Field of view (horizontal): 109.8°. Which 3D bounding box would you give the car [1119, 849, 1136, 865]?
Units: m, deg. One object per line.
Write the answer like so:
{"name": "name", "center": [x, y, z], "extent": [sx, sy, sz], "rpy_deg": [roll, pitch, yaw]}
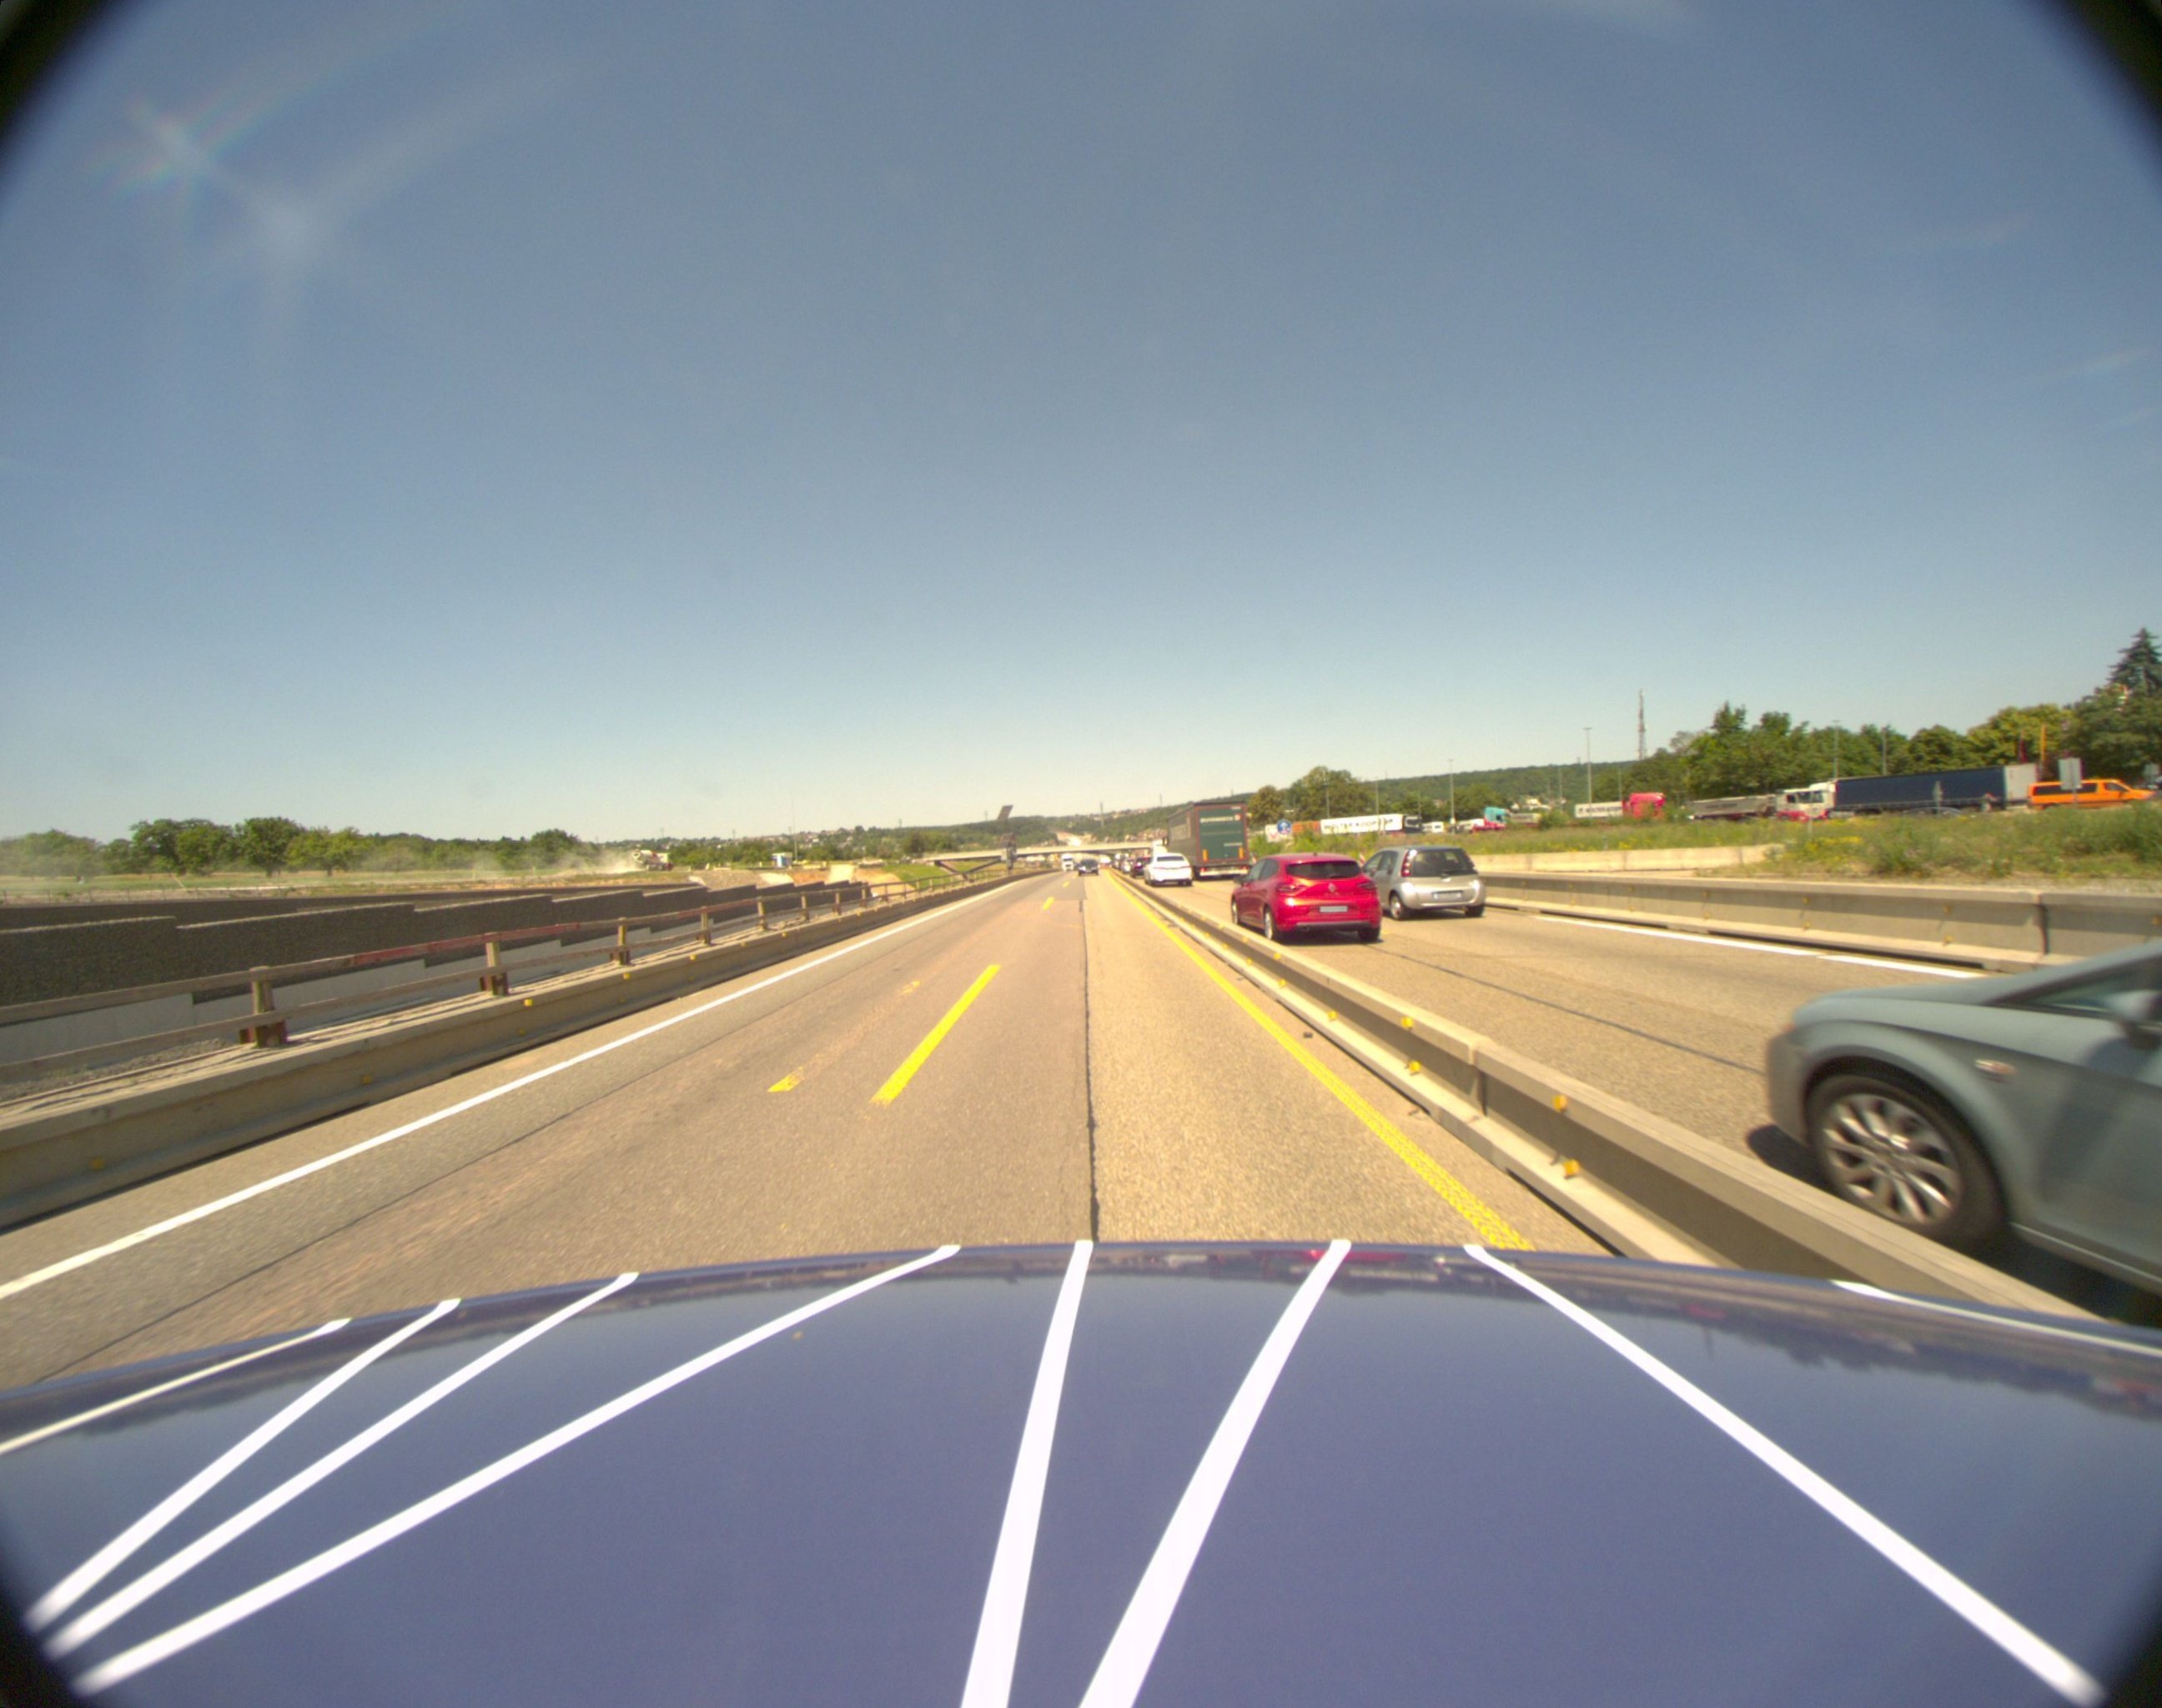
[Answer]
{"name": "car", "center": [4.917, 0.270, 80.540], "extent": [1.651, 1.592, 4.490], "rpy_deg": [-3, 0, 2]}

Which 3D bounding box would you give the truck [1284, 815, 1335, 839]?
{"name": "truck", "center": [46.210, -5.433, 153.812], "extent": [9.253, 3.653, 2.867], "rpy_deg": [-6, 0, 44]}

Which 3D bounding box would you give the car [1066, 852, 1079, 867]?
{"name": "car", "center": [-1.946, 1.175, 173.994], "extent": [2.544, 3.126, 7.547], "rpy_deg": [-4, 0, 1]}

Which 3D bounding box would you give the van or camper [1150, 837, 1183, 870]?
{"name": "van or camper", "center": [8.179, -0.097, 73.101], "extent": [2.442, 2.900, 7.824], "rpy_deg": [-2, 0, 2]}

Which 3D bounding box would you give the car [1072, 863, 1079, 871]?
{"name": "car", "center": [-1.531, 3.552, 211.800], "extent": [1.739, 2.002, 3.876], "rpy_deg": [-3, 0, 1]}

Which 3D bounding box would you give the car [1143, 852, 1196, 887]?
{"name": "car", "center": [4.048, 0.667, 35.549], "extent": [1.901, 1.484, 4.759], "rpy_deg": [-1, 0, 0]}

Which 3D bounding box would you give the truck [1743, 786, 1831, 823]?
{"name": "truck", "center": [62.187, -4.278, 67.115], "extent": [2.275, 2.752, 5.630], "rpy_deg": [-4, 0, -2]}

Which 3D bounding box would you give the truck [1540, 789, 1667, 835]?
{"name": "truck", "center": [51.245, -4.021, 74.883], "extent": [2.004, 3.755, 10.066], "rpy_deg": [-4, 1, -45]}

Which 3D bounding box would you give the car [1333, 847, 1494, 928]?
{"name": "car", "center": [6.847, 0.624, 16.088], "extent": [1.627, 1.439, 3.785], "rpy_deg": [-3, 0, -1]}

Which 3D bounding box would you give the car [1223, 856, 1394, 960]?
{"name": "car", "center": [3.646, 0.783, 12.939], "extent": [1.653, 1.426, 3.999], "rpy_deg": [-2, 0, 0]}

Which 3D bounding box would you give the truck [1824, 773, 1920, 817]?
{"name": "truck", "center": [76.104, -5.643, 73.250], "extent": [2.872, 3.601, 5.960], "rpy_deg": [-4, 0, 0]}

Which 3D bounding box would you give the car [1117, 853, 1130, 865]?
{"name": "car", "center": [5.658, 0.717, 102.479], "extent": [1.651, 1.563, 3.945], "rpy_deg": [-1, 0, 2]}

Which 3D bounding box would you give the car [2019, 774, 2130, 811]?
{"name": "car", "center": [75.795, -4.659, 58.043], "extent": [2.003, 2.240, 5.014], "rpy_deg": [-4, 0, -34]}

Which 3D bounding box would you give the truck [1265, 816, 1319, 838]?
{"name": "truck", "center": [47.289, -6.115, 170.619], "extent": [11.491, 3.653, 2.535], "rpy_deg": [-6, 0, 44]}

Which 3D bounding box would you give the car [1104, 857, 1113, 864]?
{"name": "car", "center": [5.544, 1.295, 155.304], "extent": [1.651, 1.359, 3.945], "rpy_deg": [-1, 0, 0]}

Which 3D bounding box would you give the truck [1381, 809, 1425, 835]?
{"name": "truck", "center": [52.259, -5.202, 123.242], "extent": [5.724, 3.597, 2.584], "rpy_deg": [-6, 1, 41]}

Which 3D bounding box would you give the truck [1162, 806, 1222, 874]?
{"name": "truck", "center": [7.337, -0.874, 51.139], "extent": [3.014, 4.178, 6.283], "rpy_deg": [-3, 0, 0]}

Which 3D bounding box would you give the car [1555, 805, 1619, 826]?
{"name": "car", "center": [42.607, -3.265, 64.096], "extent": [2.003, 1.499, 3.991], "rpy_deg": [-3, 0, -31]}

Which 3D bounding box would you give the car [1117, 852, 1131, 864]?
{"name": "car", "center": [8.548, 0.799, 152.336], "extent": [2.416, 2.106, 5.315], "rpy_deg": [-4, 0, 0]}

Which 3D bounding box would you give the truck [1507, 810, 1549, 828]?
{"name": "truck", "center": [75.549, -5.880, 128.496], "extent": [2.548, 2.589, 7.778], "rpy_deg": [-4, 0, 1]}

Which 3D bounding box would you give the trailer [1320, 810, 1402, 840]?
{"name": "trailer", "center": [47.107, -4.812, 128.180], "extent": [12.721, 3.762, 2.625], "rpy_deg": [-6, 1, 45]}

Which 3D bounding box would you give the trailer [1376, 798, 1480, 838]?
{"name": "trailer", "center": [46.869, -4.782, 103.166], "extent": [12.348, 4.142, 2.865], "rpy_deg": [-6, 1, 45]}

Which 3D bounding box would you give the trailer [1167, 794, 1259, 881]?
{"name": "trailer", "center": [7.302, -0.818, 44.548], "extent": [3.014, 4.174, 13.850], "rpy_deg": [-3, 0, 1]}

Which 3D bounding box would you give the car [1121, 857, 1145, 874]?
{"name": "car", "center": [4.331, 0.922, 63.779], "extent": [1.714, 1.344, 3.890], "rpy_deg": [-1, 0, 0]}

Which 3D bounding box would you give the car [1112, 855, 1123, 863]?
{"name": "car", "center": [6.135, 0.798, 126.830], "extent": [1.651, 1.359, 3.945], "rpy_deg": [-1, 0, 0]}

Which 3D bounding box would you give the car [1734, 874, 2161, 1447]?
{"name": "car", "center": [3.683, 0.833, 1.179], "extent": [1.686, 1.420, 4.201], "rpy_deg": [-2, 0, 0]}

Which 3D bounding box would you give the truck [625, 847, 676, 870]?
{"name": "truck", "center": [-72.524, 0.724, 128.350], "extent": [3.155, 3.445, 8.757], "rpy_deg": [-4, 0, 2]}

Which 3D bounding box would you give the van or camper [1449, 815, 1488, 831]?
{"name": "van or camper", "center": [75.303, -6.043, 147.992], "extent": [2.761, 2.717, 8.594], "rpy_deg": [-2, 0, -3]}

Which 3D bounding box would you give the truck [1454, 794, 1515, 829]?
{"name": "truck", "center": [51.991, -5.448, 98.021], "extent": [6.131, 3.728, 2.838], "rpy_deg": [-6, 1, 45]}

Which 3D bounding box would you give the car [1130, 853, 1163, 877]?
{"name": "car", "center": [4.280, 0.701, 49.988], "extent": [1.771, 1.465, 4.227], "rpy_deg": [-2, 0, 0]}

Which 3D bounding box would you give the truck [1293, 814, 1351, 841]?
{"name": "truck", "center": [46.635, -5.144, 147.210], "extent": [9.869, 4.195, 3.590], "rpy_deg": [-6, 1, 43]}

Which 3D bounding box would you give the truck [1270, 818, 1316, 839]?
{"name": "truck", "center": [46.156, -5.530, 165.650], "extent": [9.135, 3.522, 2.696], "rpy_deg": [-6, 1, 44]}

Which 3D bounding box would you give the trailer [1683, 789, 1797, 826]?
{"name": "trailer", "center": [61.998, -4.284, 71.902], "extent": [2.260, 2.752, 9.394], "rpy_deg": [-4, 0, -2]}

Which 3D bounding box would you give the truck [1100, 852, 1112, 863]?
{"name": "truck", "center": [7.160, 1.006, 217.465], "extent": [3.397, 2.939, 6.085], "rpy_deg": [-4, 0, 2]}

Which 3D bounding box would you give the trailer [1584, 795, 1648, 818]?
{"name": "trailer", "center": [96.063, -8.428, 136.756], "extent": [2.952, 3.360, 11.704], "rpy_deg": [-3, 0, -2]}

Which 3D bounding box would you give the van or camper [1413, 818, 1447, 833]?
{"name": "van or camper", "center": [75.248, -6.090, 164.002], "extent": [2.761, 2.717, 8.594], "rpy_deg": [-2, 0, -3]}

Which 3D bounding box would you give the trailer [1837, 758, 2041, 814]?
{"name": "trailer", "center": [76.084, -5.840, 68.148], "extent": [3.030, 3.601, 13.432], "rpy_deg": [-4, 0, 0]}

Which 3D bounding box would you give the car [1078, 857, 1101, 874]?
{"name": "car", "center": [0.741, 0.936, 64.111], "extent": [1.810, 1.299, 4.000], "rpy_deg": [-2, 0, 1]}

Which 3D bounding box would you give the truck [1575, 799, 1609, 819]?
{"name": "truck", "center": [95.889, -8.438, 142.674], "extent": [2.901, 3.338, 4.906], "rpy_deg": [-4, 0, -2]}
